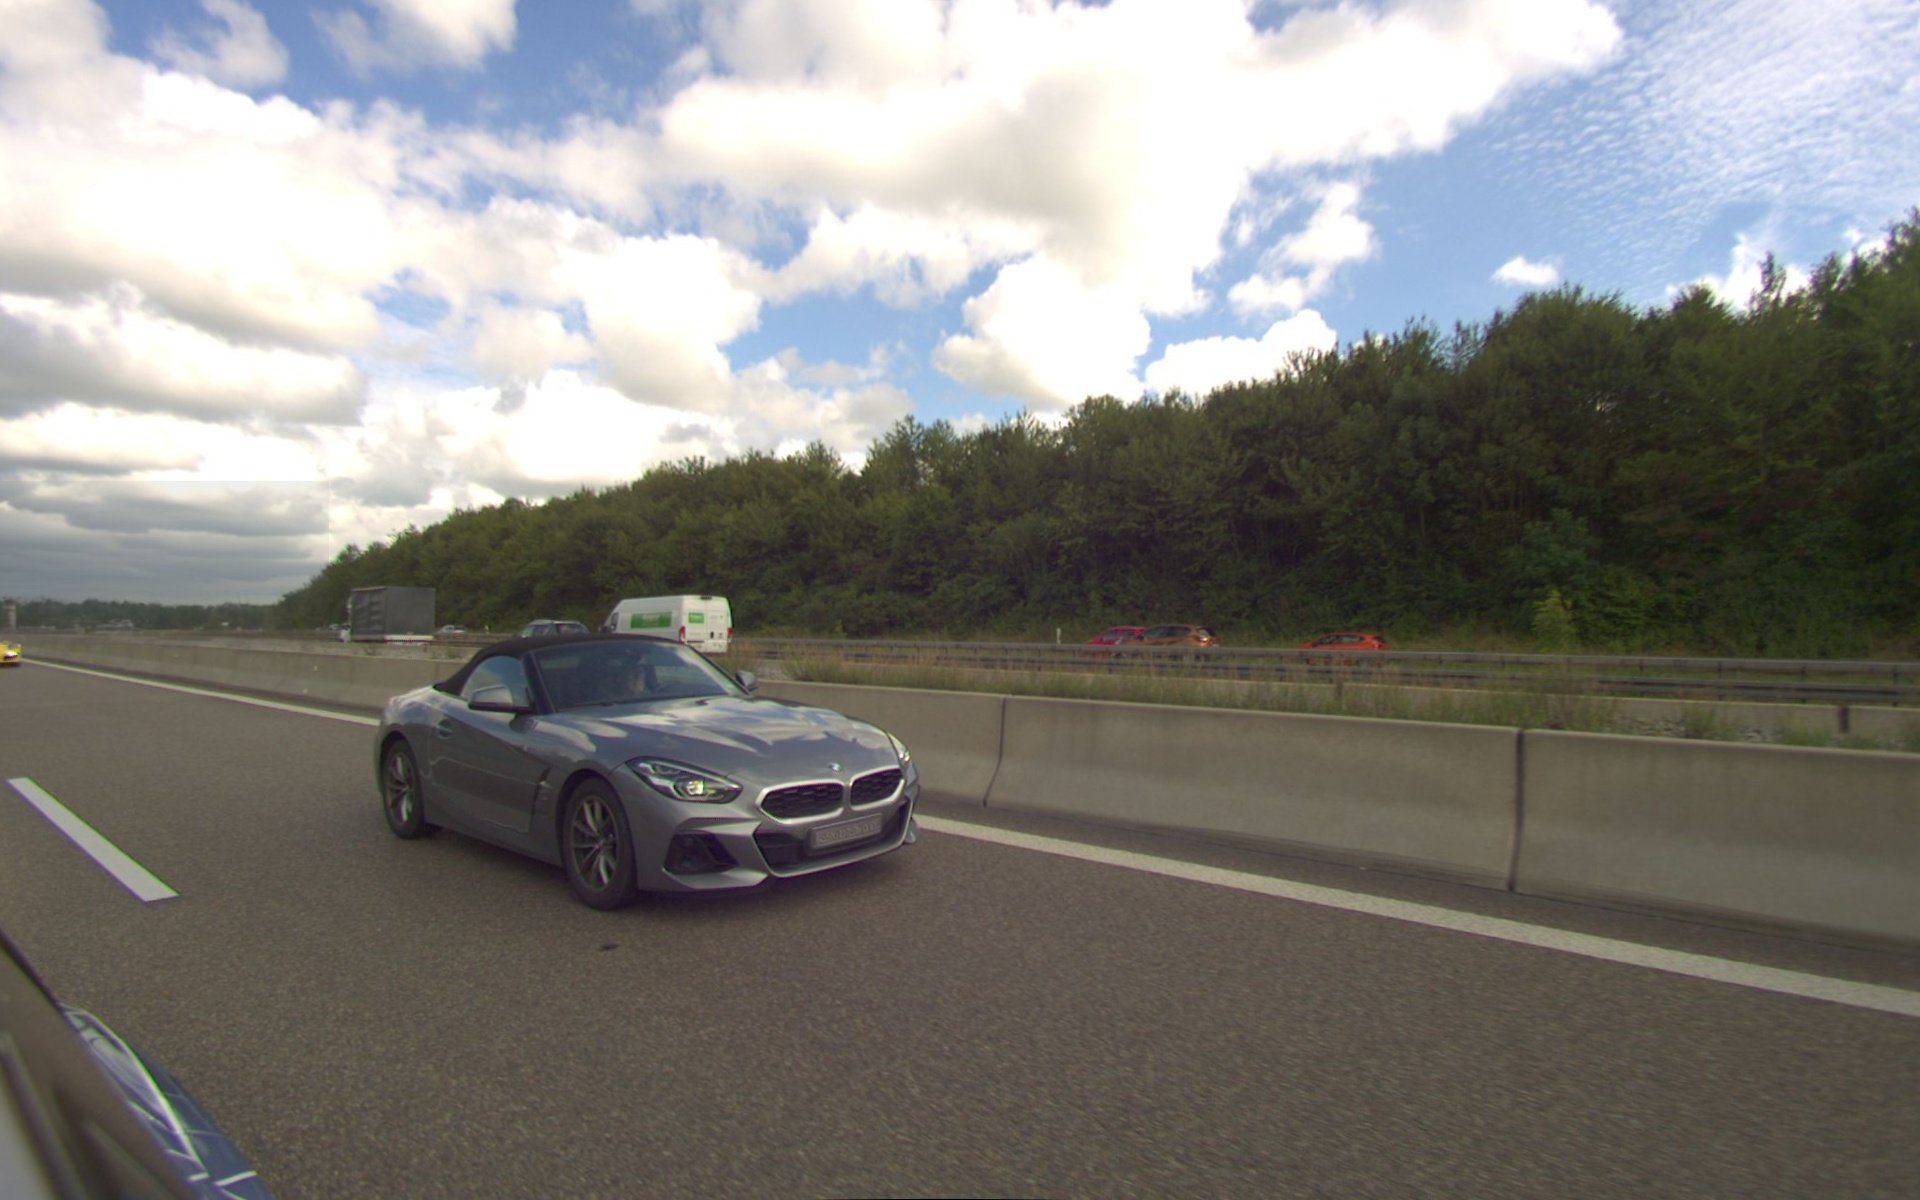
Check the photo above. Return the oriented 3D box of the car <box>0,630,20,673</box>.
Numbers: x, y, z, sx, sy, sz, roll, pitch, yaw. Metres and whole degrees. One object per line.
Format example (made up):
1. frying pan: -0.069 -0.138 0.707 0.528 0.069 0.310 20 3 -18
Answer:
1. car: -31.356 1.606 32.073 4.245 1.325 1.788 -2 -4 41

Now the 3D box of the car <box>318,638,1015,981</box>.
1. car: -2.170 0.920 6.375 4.939 1.312 1.854 -2 -2 41

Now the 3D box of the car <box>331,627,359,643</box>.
1. car: -72.152 4.089 118.682 4.279 1.771 1.575 -2 -3 40

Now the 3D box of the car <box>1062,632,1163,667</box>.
1. car: 6.440 2.060 42.901 4.049 1.375 1.547 -1 -2 41

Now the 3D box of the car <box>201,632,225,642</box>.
1. car: -101.660 5.036 137.740 4.321 1.455 1.640 -2 -3 41

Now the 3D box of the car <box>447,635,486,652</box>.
1. car: -45.219 3.969 92.703 4.506 1.506 1.575 -2 -3 40

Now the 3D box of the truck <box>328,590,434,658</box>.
1. truck: -30.312 1.261 52.806 7.821 3.288 2.329 -2 -2 41

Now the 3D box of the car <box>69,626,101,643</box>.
1. car: -95.628 3.757 110.603 5.499 1.799 1.815 -2 -3 41

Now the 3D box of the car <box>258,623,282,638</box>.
1. car: -110.230 4.920 161.616 5.684 2.333 1.972 -2 -3 43

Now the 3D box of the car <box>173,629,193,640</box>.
1. car: -116.006 5.202 151.065 3.997 1.660 1.640 -2 -3 41

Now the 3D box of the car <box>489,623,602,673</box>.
1. car: -13.376 1.503 32.588 4.049 1.522 1.719 -1 -2 41

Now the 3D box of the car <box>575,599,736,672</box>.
1. car: -10.536 1.210 34.699 6.457 2.289 2.142 -1 -2 41

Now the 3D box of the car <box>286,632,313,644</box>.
1. car: -88.287 5.071 135.319 4.944 1.646 1.717 -2 -3 41

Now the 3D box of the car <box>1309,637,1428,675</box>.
1. car: 15.858 2.143 39.409 4.049 1.375 1.547 -1 -2 41

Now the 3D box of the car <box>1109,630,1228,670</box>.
1. car: 7.579 1.787 36.986 4.049 1.375 1.547 -1 -2 41
